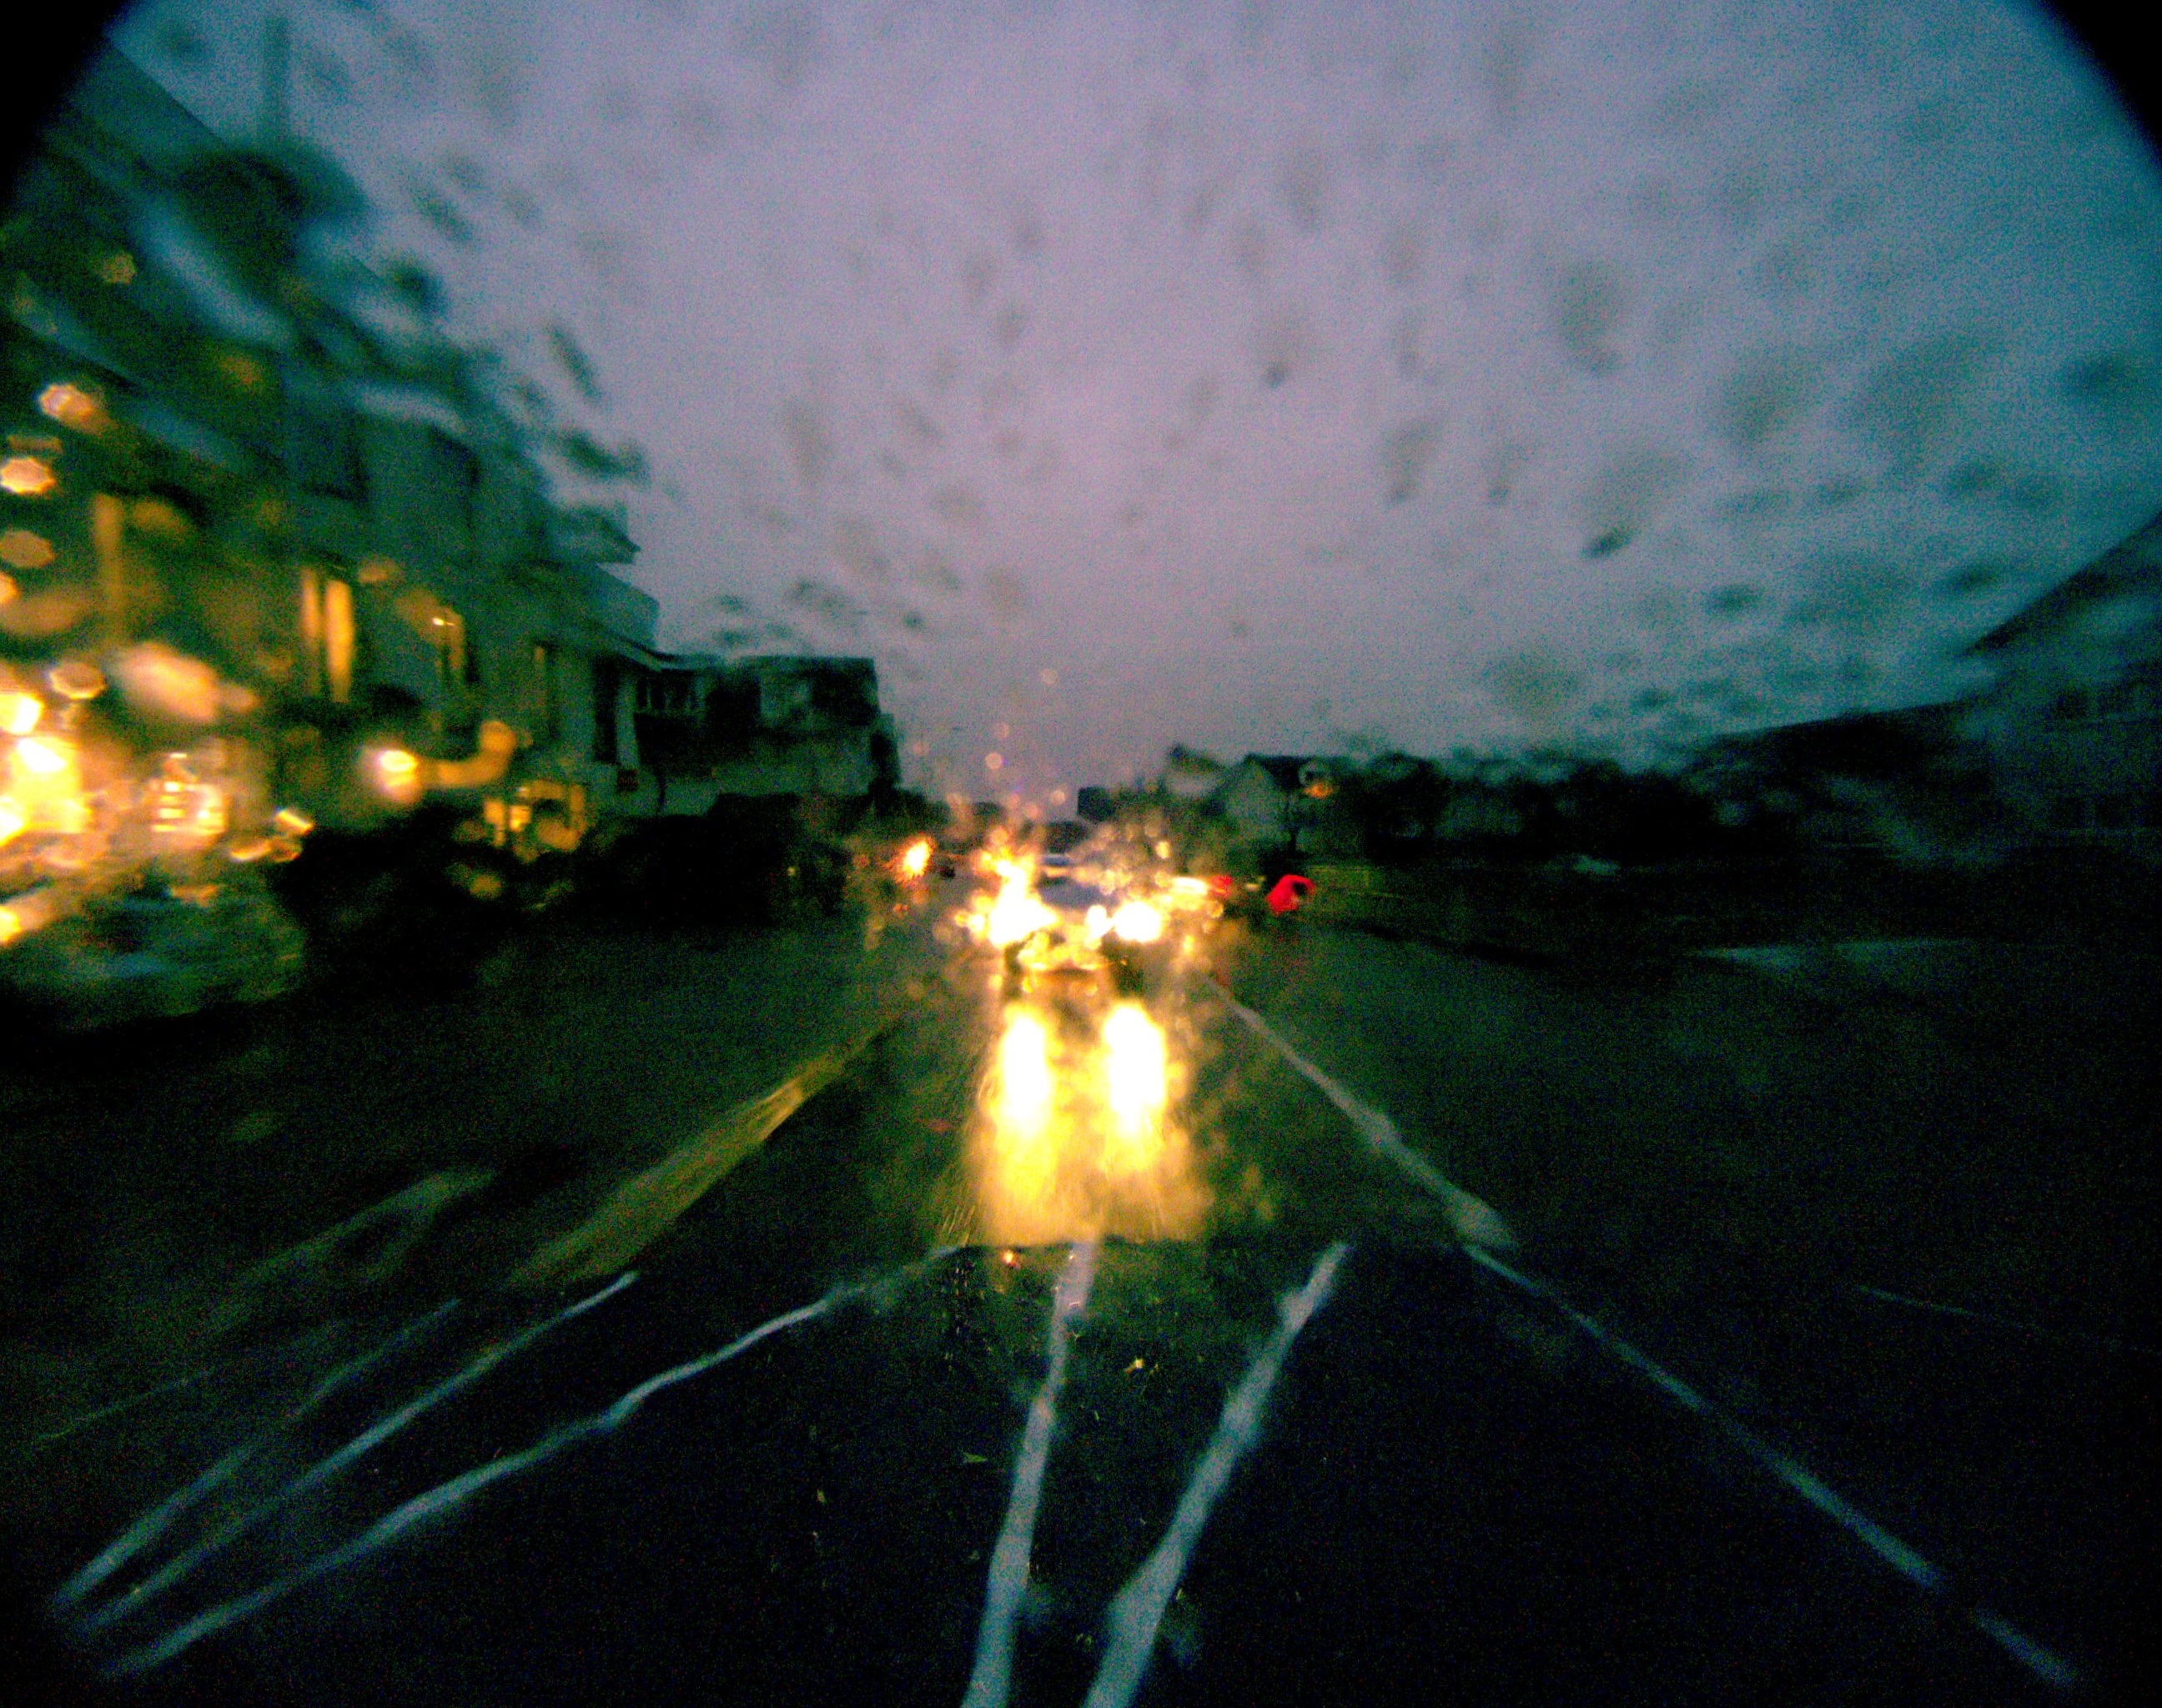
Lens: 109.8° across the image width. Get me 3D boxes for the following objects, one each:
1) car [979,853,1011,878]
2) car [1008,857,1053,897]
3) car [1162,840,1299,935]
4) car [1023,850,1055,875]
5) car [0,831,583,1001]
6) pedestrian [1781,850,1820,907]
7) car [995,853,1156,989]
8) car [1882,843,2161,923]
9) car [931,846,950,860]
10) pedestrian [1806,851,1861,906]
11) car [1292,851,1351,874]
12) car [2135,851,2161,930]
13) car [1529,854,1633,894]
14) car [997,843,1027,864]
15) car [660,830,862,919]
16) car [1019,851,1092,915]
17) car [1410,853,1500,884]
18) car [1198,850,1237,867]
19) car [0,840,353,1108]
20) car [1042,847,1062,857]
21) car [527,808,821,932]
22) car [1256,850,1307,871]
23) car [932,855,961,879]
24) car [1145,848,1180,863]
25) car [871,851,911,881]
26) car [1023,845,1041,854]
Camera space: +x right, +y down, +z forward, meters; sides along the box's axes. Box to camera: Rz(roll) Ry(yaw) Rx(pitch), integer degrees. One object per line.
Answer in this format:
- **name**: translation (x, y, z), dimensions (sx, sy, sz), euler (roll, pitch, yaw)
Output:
- **car**: translation (-5.466, 0.702, 47.897), dimensions (1.742, 1.434, 3.996), euler (-2, 1, -10)
- **car**: translation (-2.144, 0.904, 31.513), dimensions (1.572, 1.460, 3.614), euler (-2, 0, -8)
- **car**: translation (3.127, 0.649, 16.768), dimensions (1.724, 1.802, 4.133), euler (-2, 0, -7)
- **car**: translation (-2.902, 0.556, 52.012), dimensions (1.784, 1.612, 3.954), euler (-1, 0, -8)
- **car**: translation (-8.201, 0.597, 7.971), dimensions (4.523, 1.483, 1.973), euler (2, 0, -9)
- **pedestrian**: translation (16.696, 0.554, 17.631), dimensions (0.512, 1.294, 0.601), euler (-2, 1, -39)
- **car**: translation (-0.175, 0.822, 11.127), dimensions (1.888, 1.569, 3.999), euler (-2, 0, -3)
- **car**: translation (22.148, 0.596, 18.089), dimensions (1.704, 1.651, 3.956), euler (-2, 1, -10)
- **car**: translation (-21.163, -0.160, 114.311), dimensions (2.002, 2.002, 3.993), euler (-2, 1, -20)
- **pedestrian**: translation (17.484, 0.553, 17.658), dimensions (0.693, 1.242, 0.602), euler (-1, 1, -5)
- **car**: translation (16.027, 0.535, 50.901), dimensions (1.801, 1.460, 4.251), euler (-1, 1, -14)
- **car**: translation (22.665, 0.736, 13.599), dimensions (1.780, 1.560, 4.090), euler (-2, 1, -7)
- **car**: translation (20.185, 0.763, 30.843), dimensions (1.479, 1.500, 3.499), euler (-1, 1, -11)
- **car**: translation (-6.869, -0.064, 75.363), dimensions (2.002, 2.002, 3.993), euler (-2, 1, -20)
- **car**: translation (-7.660, 0.507, 18.621), dimensions (4.154, 1.625, 1.753), euler (7, -1, -12)
- **car**: translation (-0.812, 0.783, 21.845), dimensions (1.682, 1.614, 3.998), euler (-1, -1, -8)
- **car**: translation (18.950, 0.696, 38.691), dimensions (1.801, 1.460, 4.251), euler (-1, 1, -14)
- **car**: translation (11.936, 0.376, 66.696), dimensions (1.677, 1.460, 4.011), euler (1, -1, -19)
- **car**: translation (-7.775, 0.658, 4.951), dimensions (4.001, 1.494, 1.811), euler (2, 0, -11)
- **car**: translation (-4.384, -0.291, 113.245), dimensions (1.801, 1.460, 4.250), euler (-1, 1, -19)
- **car**: translation (-7.770, 0.318, 14.937), dimensions (4.553, 1.922, 1.974), euler (5, -1, -5)
- **car**: translation (14.750, 0.482, 56.203), dimensions (1.801, 1.460, 4.251), euler (-1, 1, -14)
- **car**: translation (-9.324, 0.854, 52.988), dimensions (1.849, 1.577, 3.766), euler (-1, 0, -8)
- **car**: translation (8.363, 0.168, 78.096), dimensions (1.801, 1.460, 4.608), euler (-1, 1, -19)
- **car**: translation (-10.037, 0.605, 40.293), dimensions (1.778, 1.488, 3.775), euler (1, -1, -10)
- **car**: translation (-7.974, -0.768, 123.817), dimensions (1.802, 1.460, 4.250), euler (-1, 1, -19)
